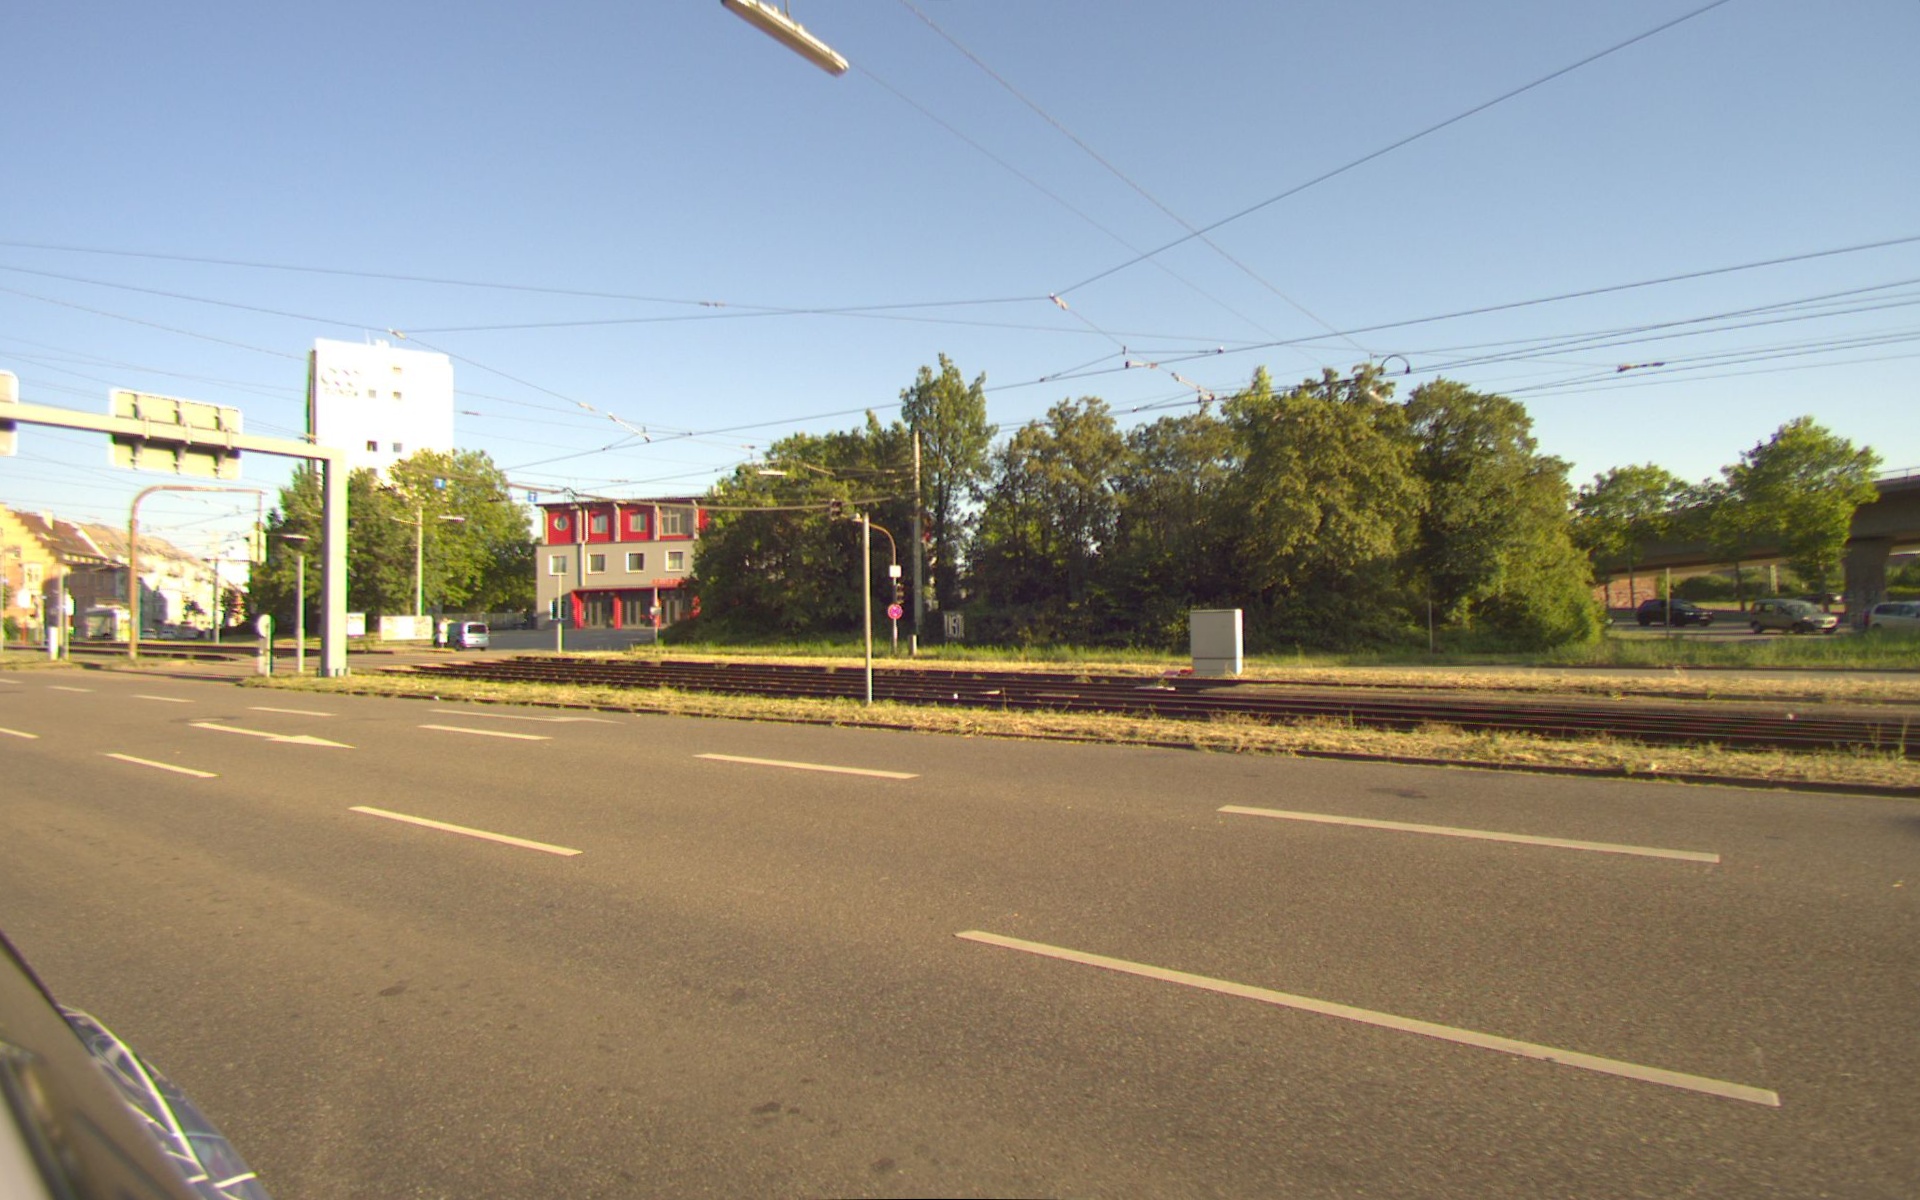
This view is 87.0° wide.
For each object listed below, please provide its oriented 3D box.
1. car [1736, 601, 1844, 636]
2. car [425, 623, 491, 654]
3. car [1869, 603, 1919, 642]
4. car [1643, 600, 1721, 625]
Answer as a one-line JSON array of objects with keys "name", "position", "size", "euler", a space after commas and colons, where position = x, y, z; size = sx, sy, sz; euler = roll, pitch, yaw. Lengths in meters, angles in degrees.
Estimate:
[{"name": "car", "position": [42.785, 0.968, 52.313], "size": [1.668, 1.691, 4.418], "euler": [-1, -1, -4]}, {"name": "car", "position": [-30.764, 2.358, 61.988], "size": [4.252, 1.801, 1.915], "euler": [-2, -3, 37]}, {"name": "car", "position": [42.263, 0.966, 44.085], "size": [1.672, 1.643, 4.281], "euler": [-1, -1, 4]}, {"name": "car", "position": [46.582, 0.815, 65.385], "size": [1.599, 1.537, 4.417], "euler": [-1, -1, -4]}]
